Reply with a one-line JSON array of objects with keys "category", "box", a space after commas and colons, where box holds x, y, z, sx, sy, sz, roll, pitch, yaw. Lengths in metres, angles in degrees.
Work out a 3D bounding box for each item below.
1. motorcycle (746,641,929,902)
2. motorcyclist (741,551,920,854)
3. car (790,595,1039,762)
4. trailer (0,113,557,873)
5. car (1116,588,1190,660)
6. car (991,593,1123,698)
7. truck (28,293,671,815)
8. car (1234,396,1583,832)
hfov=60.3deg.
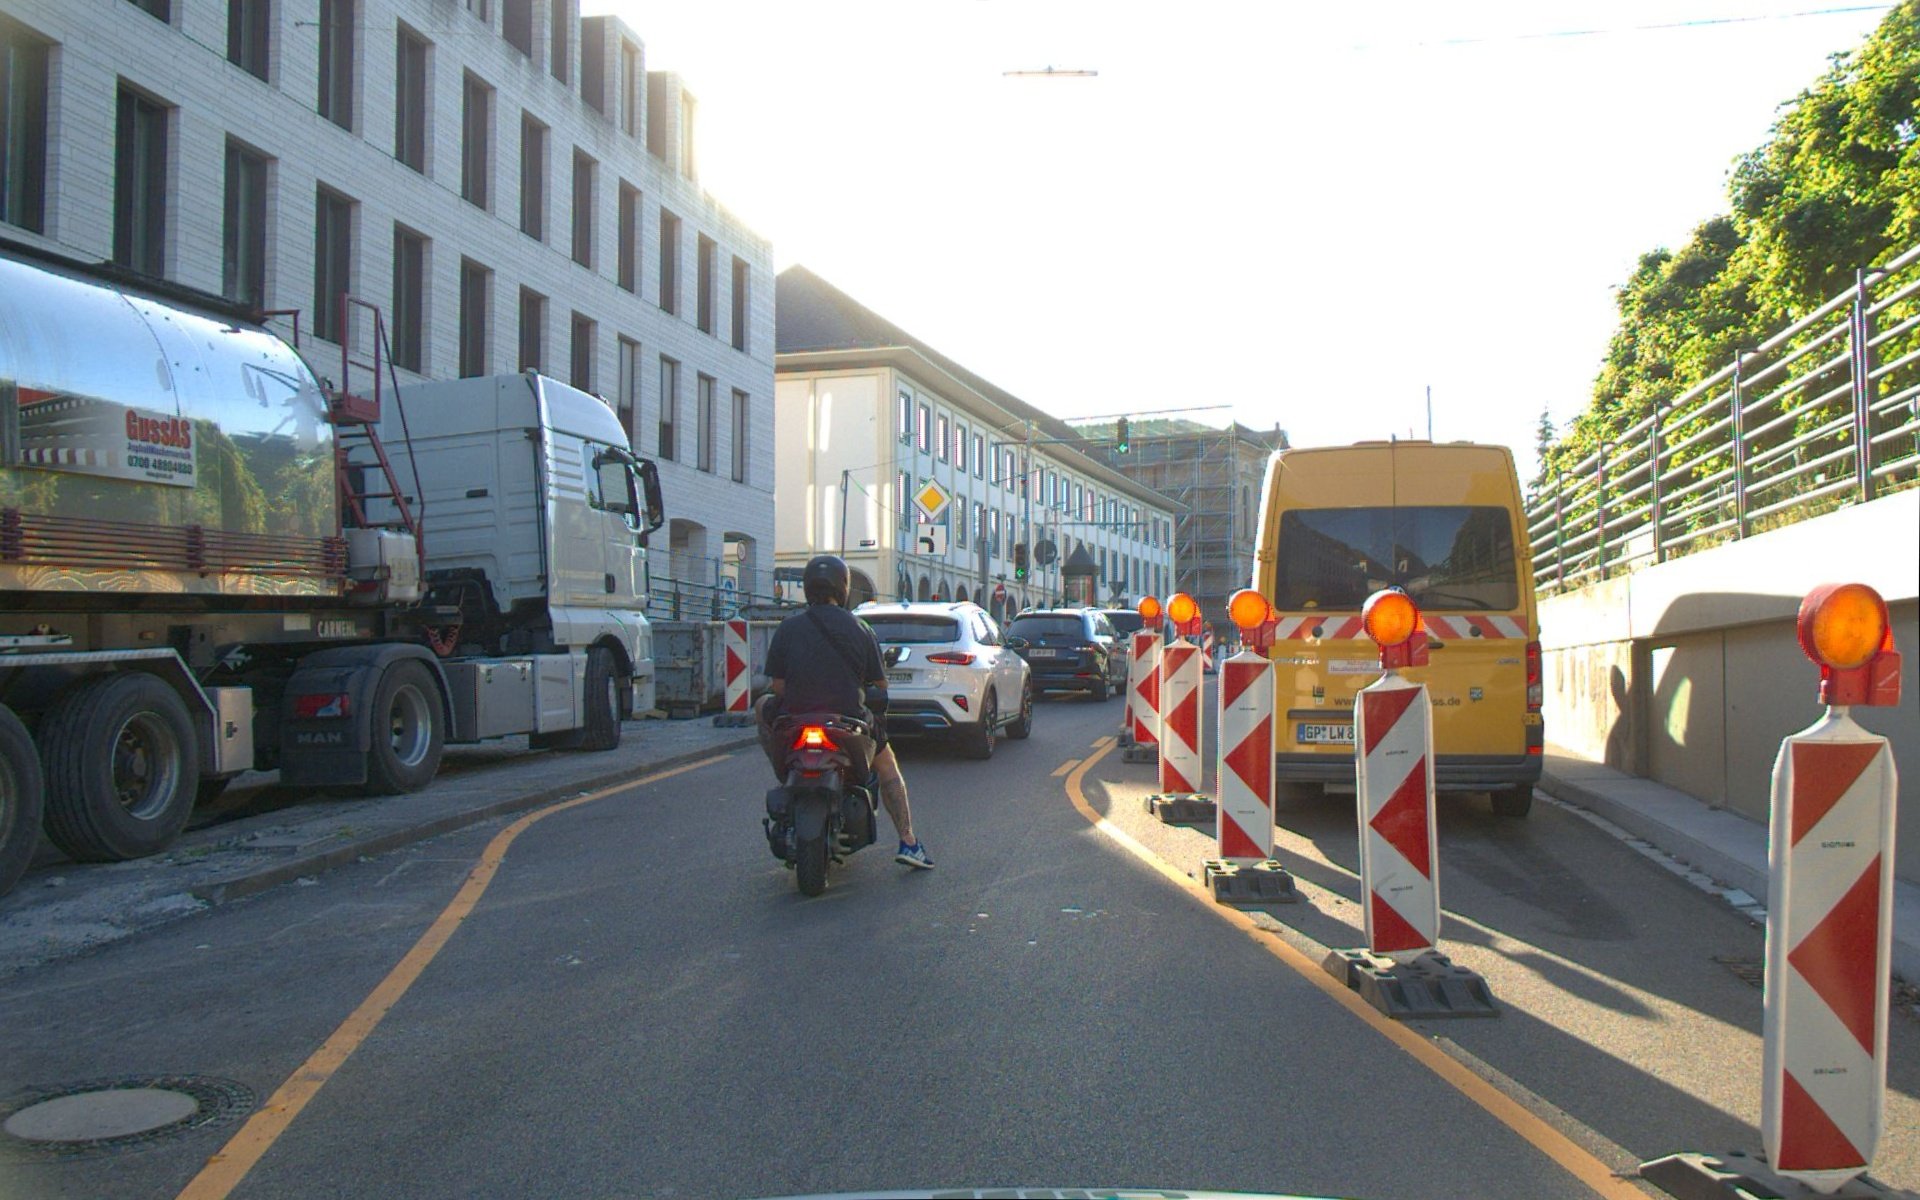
[{"category": "motorcycle", "box": [-0.644, 0.864, 9.341, 0.887, 1.204, 2.577, 0, 0, -2]}, {"category": "motorcyclist", "box": [-0.702, 0.536, 9.320, 0.935, 1.587, 1.238, 0, 0, -2]}, {"category": "car", "box": [-0.335, 0.712, 17.123, 1.819, 1.498, 4.003, 1, 0, 9]}, {"category": "trailer", "box": [-5.613, -0.449, 10.379, 2.586, 3.732, 8.755, -5, -1, 9]}, {"category": "car", "box": [4.937, 0.588, 42.258, 1.765, 1.751, 4.166, 0, 0, 7]}, {"category": "car", "box": [1.675, 0.769, 27.288, 1.736, 1.578, 4.109, -1, -2, 9]}, {"category": "truck", "box": [-4.862, -0.292, 14.531, 2.524, 3.550, 5.821, -3, -1, 11]}, {"category": "car", "box": [3.382, 0.118, 13.746, 2.067, 2.671, 6.993, -1, -1, 10]}]
